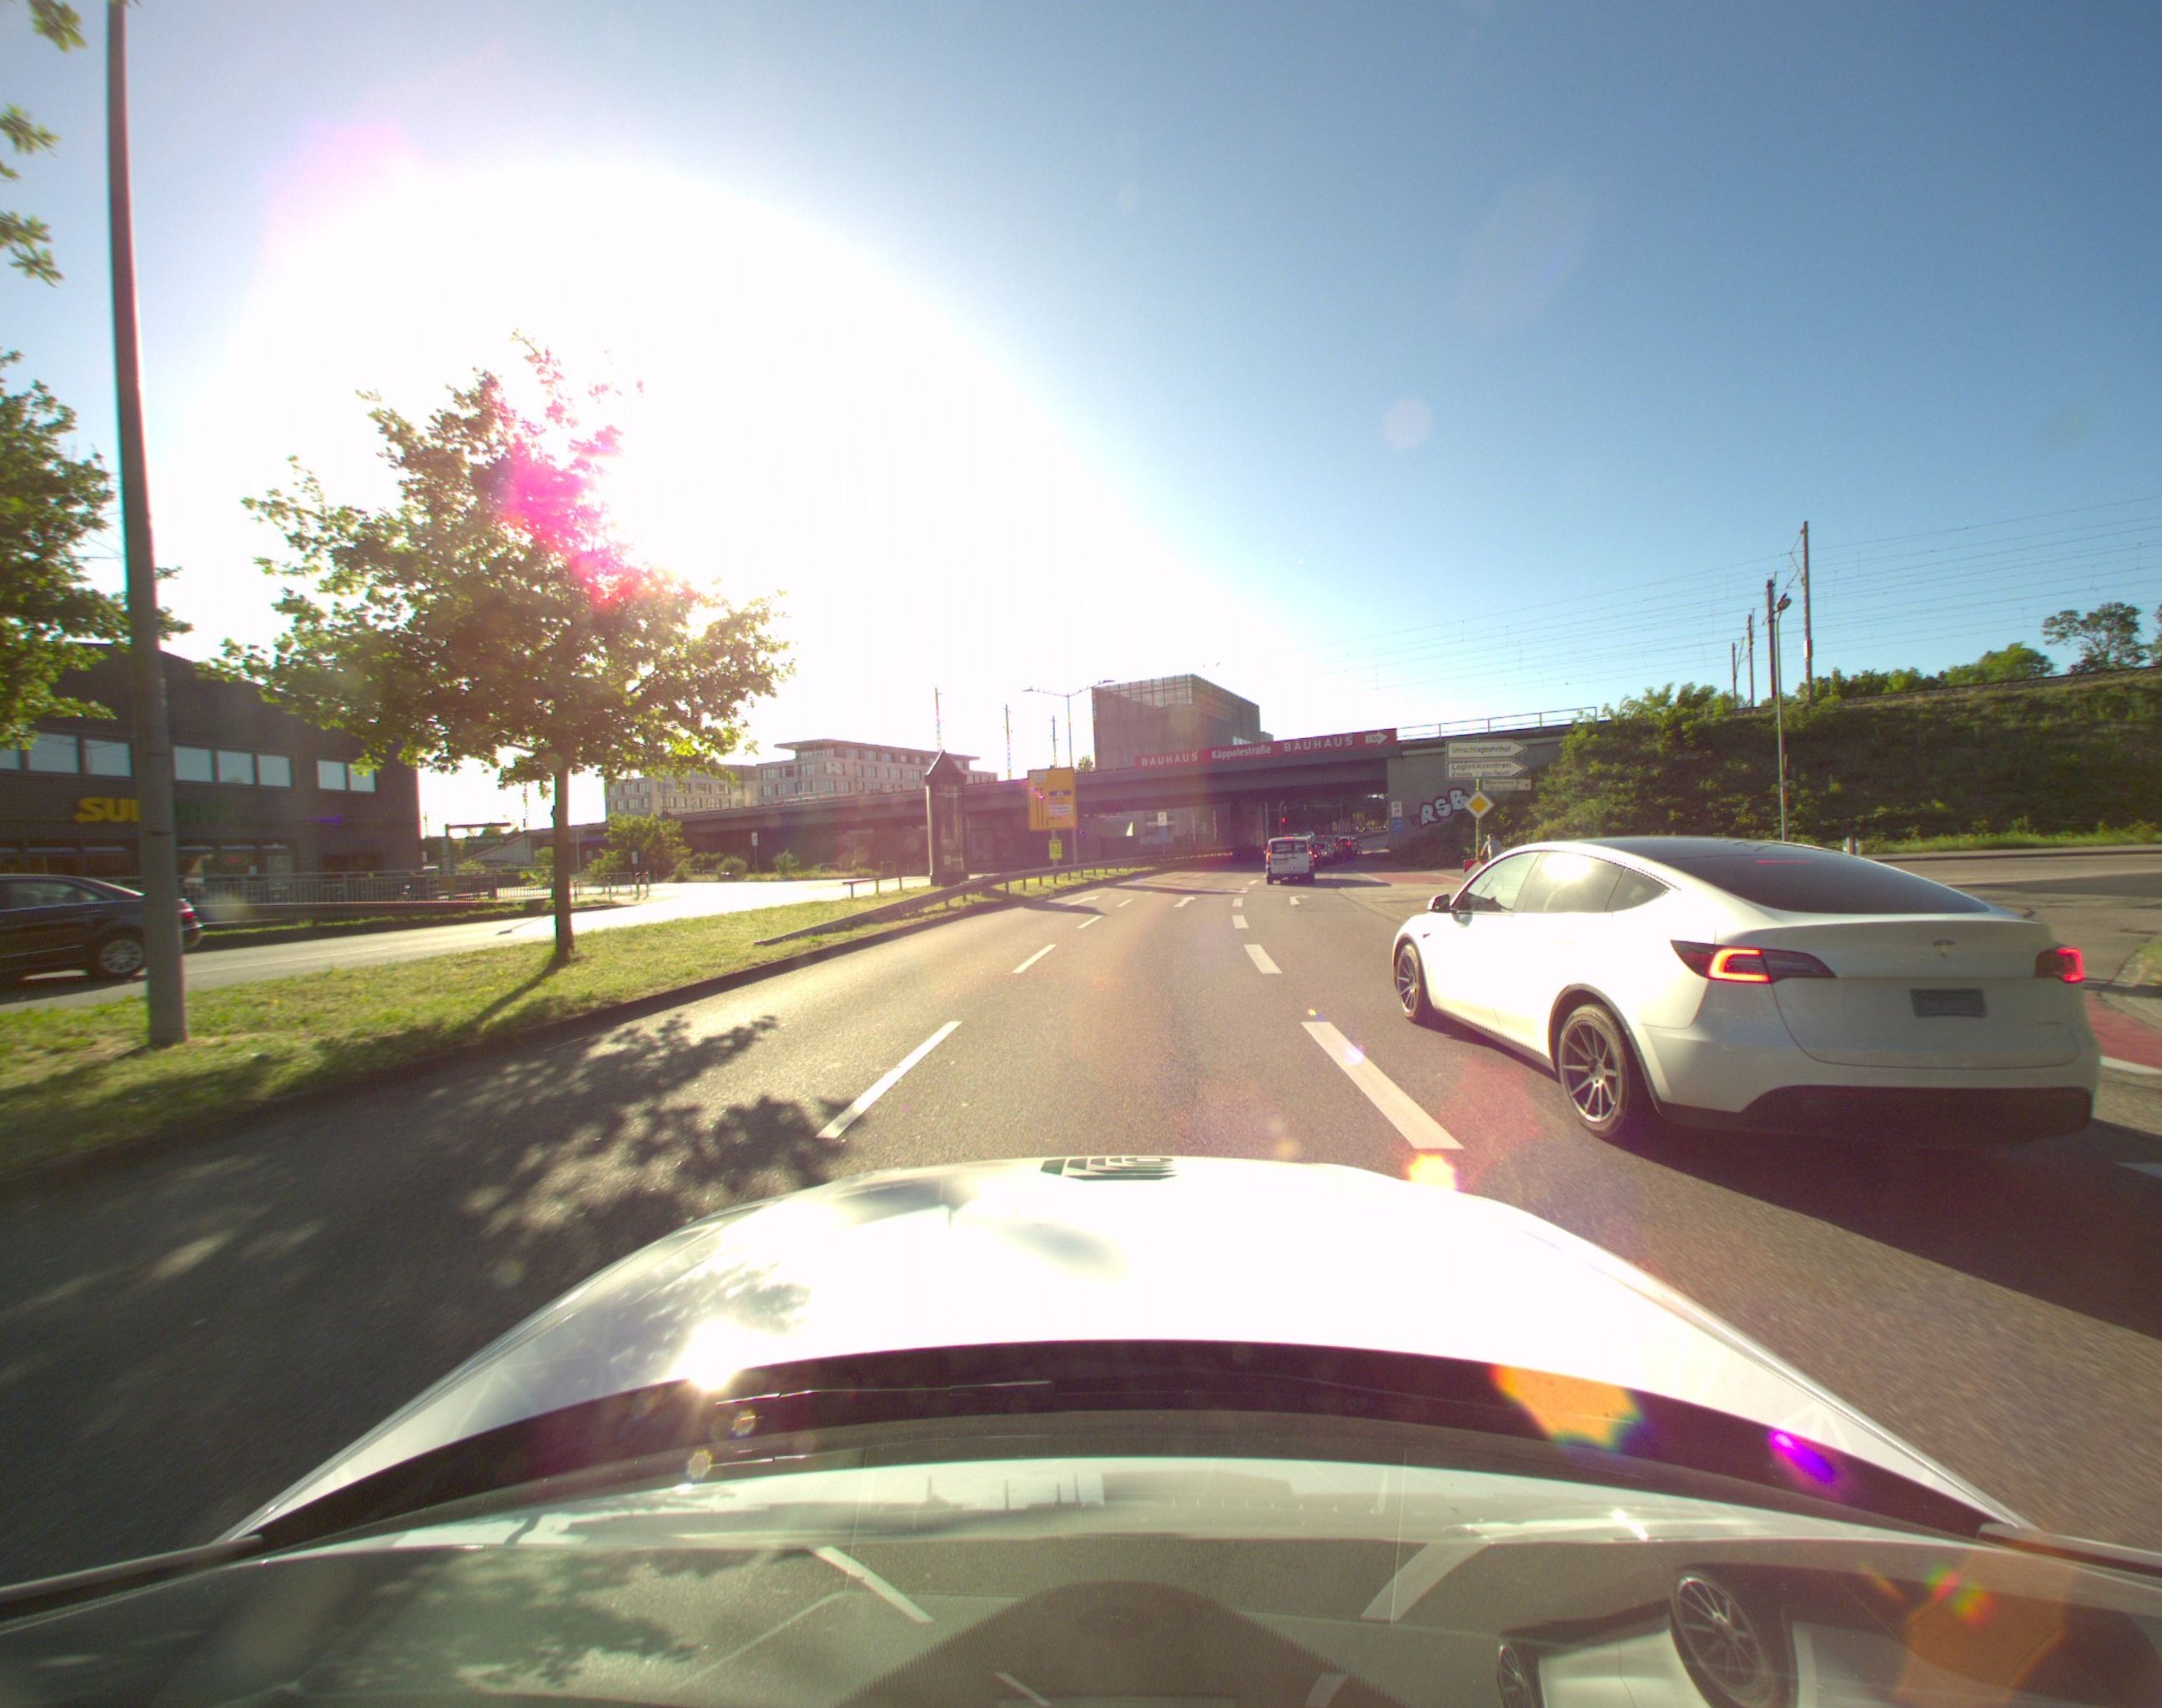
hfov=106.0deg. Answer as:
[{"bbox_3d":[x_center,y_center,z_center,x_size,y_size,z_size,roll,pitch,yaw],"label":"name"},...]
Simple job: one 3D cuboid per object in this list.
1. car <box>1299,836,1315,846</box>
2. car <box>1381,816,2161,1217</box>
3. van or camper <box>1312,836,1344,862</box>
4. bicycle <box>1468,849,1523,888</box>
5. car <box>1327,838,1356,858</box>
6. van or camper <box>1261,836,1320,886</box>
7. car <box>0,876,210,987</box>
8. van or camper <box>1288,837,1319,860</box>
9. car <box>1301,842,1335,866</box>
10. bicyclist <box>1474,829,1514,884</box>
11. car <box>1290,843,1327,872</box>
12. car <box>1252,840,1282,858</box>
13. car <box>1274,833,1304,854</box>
[{"bbox_3d":[38.811,-2.237,139.566,1.766,1.645,4.227,-1,0,27],"label":"car"},{"bbox_3d":[3.718,0.673,5.606,1.906,1.641,4.414,1,0,3],"label":"car"},{"bbox_3d":[18.521,-0.400,61.055,1.809,1.791,4.570,-1,1,23],"label":"van or camper"},{"bbox_3d":[12.839,0.432,25.316,0.738,1.112,2.458,-4,-1,10],"label":"bicycle"},{"bbox_3d":[21.408,-0.506,66.819,1.692,1.522,3.765,-2,1,27],"label":"car"},{"bbox_3d":[8.893,0.223,34.274,1.942,1.883,4.903,-2,0,19],"label":"van or camper"},{"bbox_3d":[-14.117,0.994,9.939,1.791,1.310,4.620,-1,0,4],"label":"car"},{"bbox_3d":[18.452,-0.465,67.566,1.738,1.813,3.982,-2,0,26],"label":"van or camper"},{"bbox_3d":[15.336,-0.027,52.490,1.748,1.475,4.311,-2,0,20],"label":"car"},{"bbox_3d":[12.739,0.073,25.152,0.741,1.619,0.915,-4,-1,10],"label":"bicyclist"},{"bbox_3d":[12.470,0.165,44.559,1.590,1.434,3.698,-1,1,21],"label":"car"},{"bbox_3d":[16.745,-0.463,73.256,1.692,1.452,3.765,-2,1,27],"label":"car"},{"bbox_3d":[20.439,-1.035,79.967,1.849,1.946,4.624,-2,1,27],"label":"car"}]
